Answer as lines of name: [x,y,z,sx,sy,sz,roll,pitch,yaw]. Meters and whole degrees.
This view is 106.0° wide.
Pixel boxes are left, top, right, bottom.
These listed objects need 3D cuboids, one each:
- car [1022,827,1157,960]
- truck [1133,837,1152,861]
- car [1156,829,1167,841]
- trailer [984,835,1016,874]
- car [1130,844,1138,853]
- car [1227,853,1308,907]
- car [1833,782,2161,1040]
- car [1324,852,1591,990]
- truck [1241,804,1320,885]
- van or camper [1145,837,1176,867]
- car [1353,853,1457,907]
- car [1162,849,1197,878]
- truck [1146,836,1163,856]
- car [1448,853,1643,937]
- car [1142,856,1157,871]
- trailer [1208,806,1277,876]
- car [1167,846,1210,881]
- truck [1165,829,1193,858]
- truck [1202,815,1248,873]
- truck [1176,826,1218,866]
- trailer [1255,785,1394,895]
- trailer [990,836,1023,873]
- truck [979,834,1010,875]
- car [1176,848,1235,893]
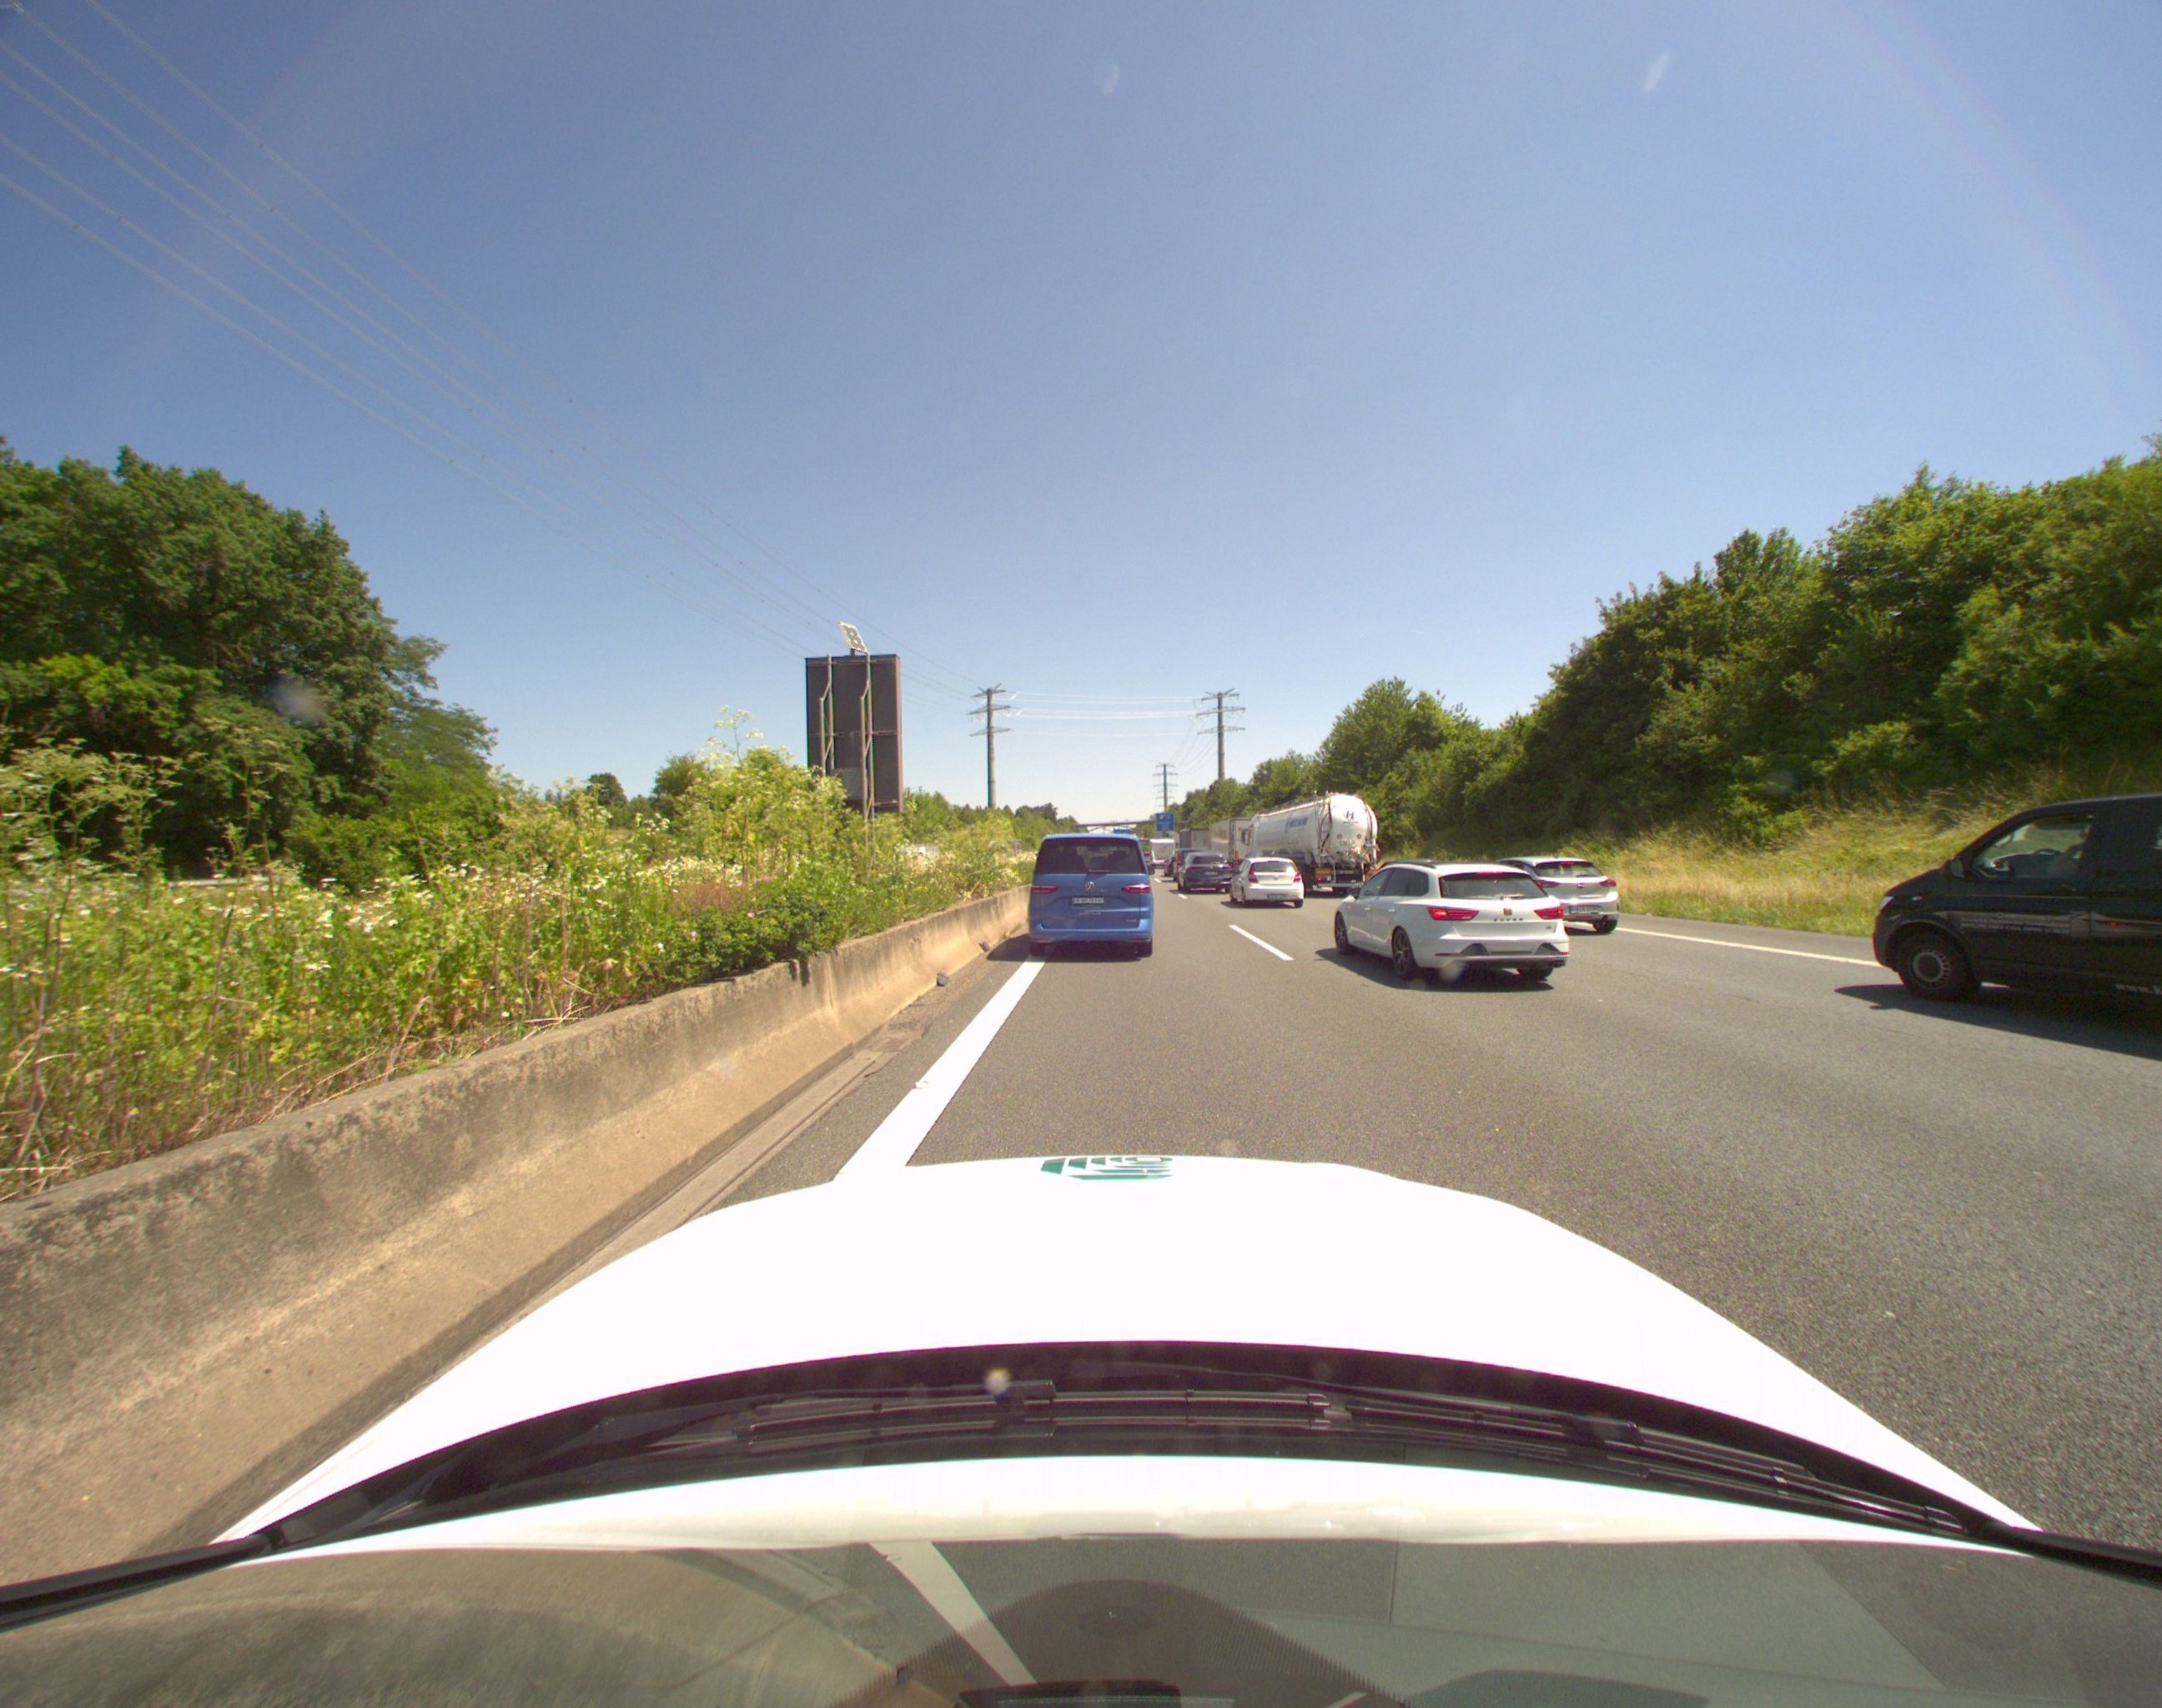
car: [0.207,0.562,13.608,1.912,1.886,4.002,0,0,2]
truck: [10.344,-0.781,138.155,2.883,3.766,10.148,-1,-1,3]
car: [15.248,-3.609,154.320,1.985,2.014,4.002,-1,-1,2]
trailer: [-10.809,0.060,109.210,3.309,5.047,6.707,-1,-1,2]
car: [13.186,-1.282,202.592,1.986,2.126,4.001,-1,-1,2]
car: [5.695,0.779,25.307,1.809,1.485,4.003,-2,-1,3]
car: [9.089,0.409,6.439,1.906,1.940,4.860,-2,-1,3]
car: [4.696,0.765,10.937,1.740,1.443,4.316,-2,-1,3]
truck: [10.132,-0.427,41.989,2.782,3.836,5.574,-2,-1,2]
van or camper: [8.407,-0.196,86.841,2.944,3.022,7.109,-1,-1,4]
car: [9.538,0.758,24.303,1.634,1.416,3.991,-2,-1,3]
car: [6.966,0.696,58.098,1.917,1.925,4.234,-2,-1,0]
truck: [17.729,-1.906,197.376,3.553,4.517,10.297,-1,-1,2]
car: [9.163,0.725,16.489,1.724,1.443,4.030,-2,0,2]
car: [9.144,1.267,109.211,1.828,1.998,4.004,-2,-1,4]
trailer: [11.511,-0.816,59.455,2.901,4.469,12.159,-2,0,2]
car: [6.336,0.592,48.443,1.917,1.925,4.234,-2,-1,0]
truck: [13.396,-1.326,112.621,2.883,3.766,13.355,-1,-1,3]
truck: [11.761,-0.789,66.738,2.901,4.469,5.144,-2,-1,2]
truck: [11.977,-0.670,85.671,2.993,3.766,15.724,-1,-1,3]
trailer: [9.850,-0.453,34.625,2.750,3.845,11.490,-2,0,2]
trailer: [-10.504,0.157,116.241,3.309,5.047,9.597,-1,-1,3]
truck: [-11.015,0.034,104.509,3.290,5.051,4.034,-1,0,2]
car: [5.214,0.706,34.654,1.991,1.715,4.628,-2,-1,3]
